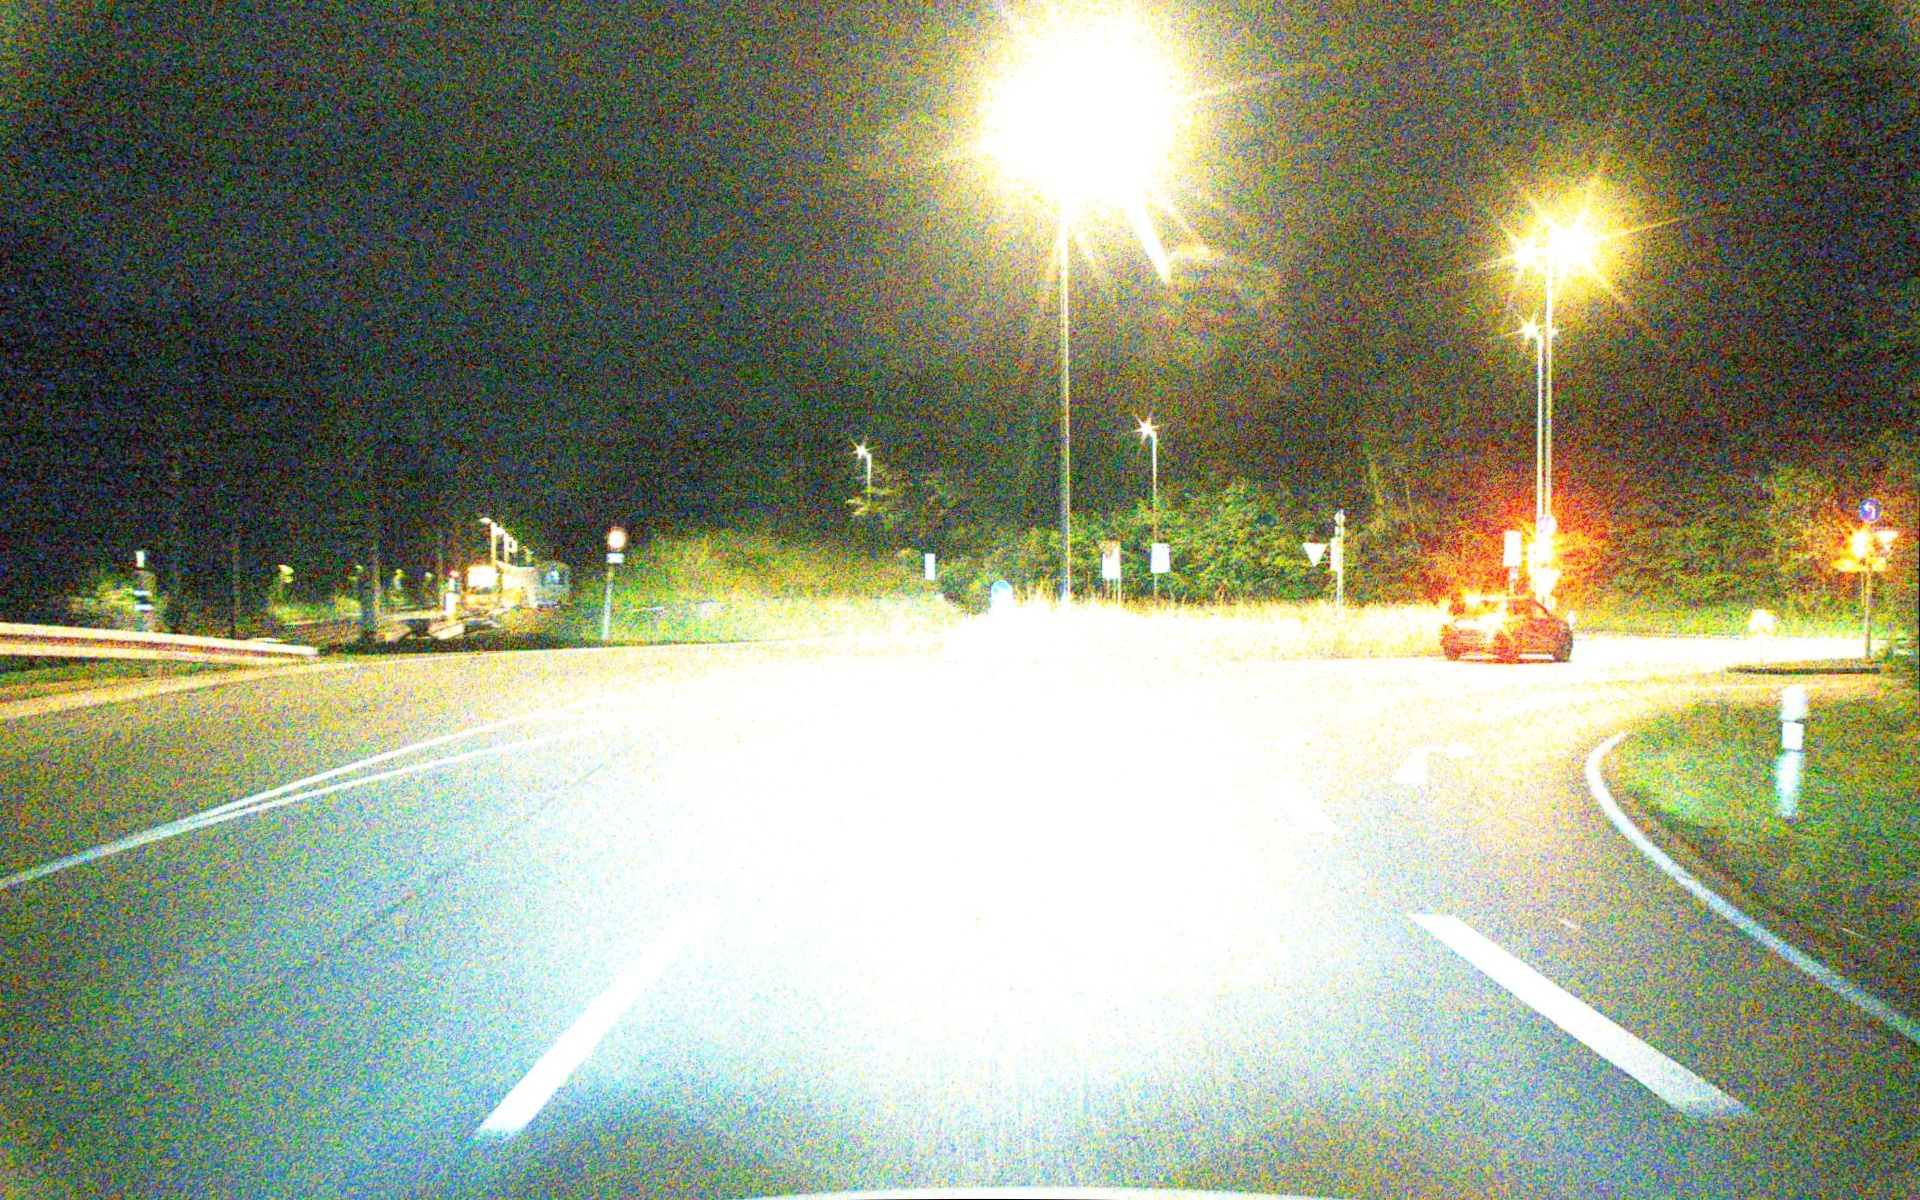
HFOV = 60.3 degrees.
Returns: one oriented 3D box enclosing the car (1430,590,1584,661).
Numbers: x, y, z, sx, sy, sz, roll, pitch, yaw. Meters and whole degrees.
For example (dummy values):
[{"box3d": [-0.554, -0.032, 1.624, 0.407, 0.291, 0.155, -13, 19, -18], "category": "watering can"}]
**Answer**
[{"box3d": [13.556, 0.637, 40.888, 3.971, 1.610, 1.830, 1, 1, -41], "category": "car"}]
